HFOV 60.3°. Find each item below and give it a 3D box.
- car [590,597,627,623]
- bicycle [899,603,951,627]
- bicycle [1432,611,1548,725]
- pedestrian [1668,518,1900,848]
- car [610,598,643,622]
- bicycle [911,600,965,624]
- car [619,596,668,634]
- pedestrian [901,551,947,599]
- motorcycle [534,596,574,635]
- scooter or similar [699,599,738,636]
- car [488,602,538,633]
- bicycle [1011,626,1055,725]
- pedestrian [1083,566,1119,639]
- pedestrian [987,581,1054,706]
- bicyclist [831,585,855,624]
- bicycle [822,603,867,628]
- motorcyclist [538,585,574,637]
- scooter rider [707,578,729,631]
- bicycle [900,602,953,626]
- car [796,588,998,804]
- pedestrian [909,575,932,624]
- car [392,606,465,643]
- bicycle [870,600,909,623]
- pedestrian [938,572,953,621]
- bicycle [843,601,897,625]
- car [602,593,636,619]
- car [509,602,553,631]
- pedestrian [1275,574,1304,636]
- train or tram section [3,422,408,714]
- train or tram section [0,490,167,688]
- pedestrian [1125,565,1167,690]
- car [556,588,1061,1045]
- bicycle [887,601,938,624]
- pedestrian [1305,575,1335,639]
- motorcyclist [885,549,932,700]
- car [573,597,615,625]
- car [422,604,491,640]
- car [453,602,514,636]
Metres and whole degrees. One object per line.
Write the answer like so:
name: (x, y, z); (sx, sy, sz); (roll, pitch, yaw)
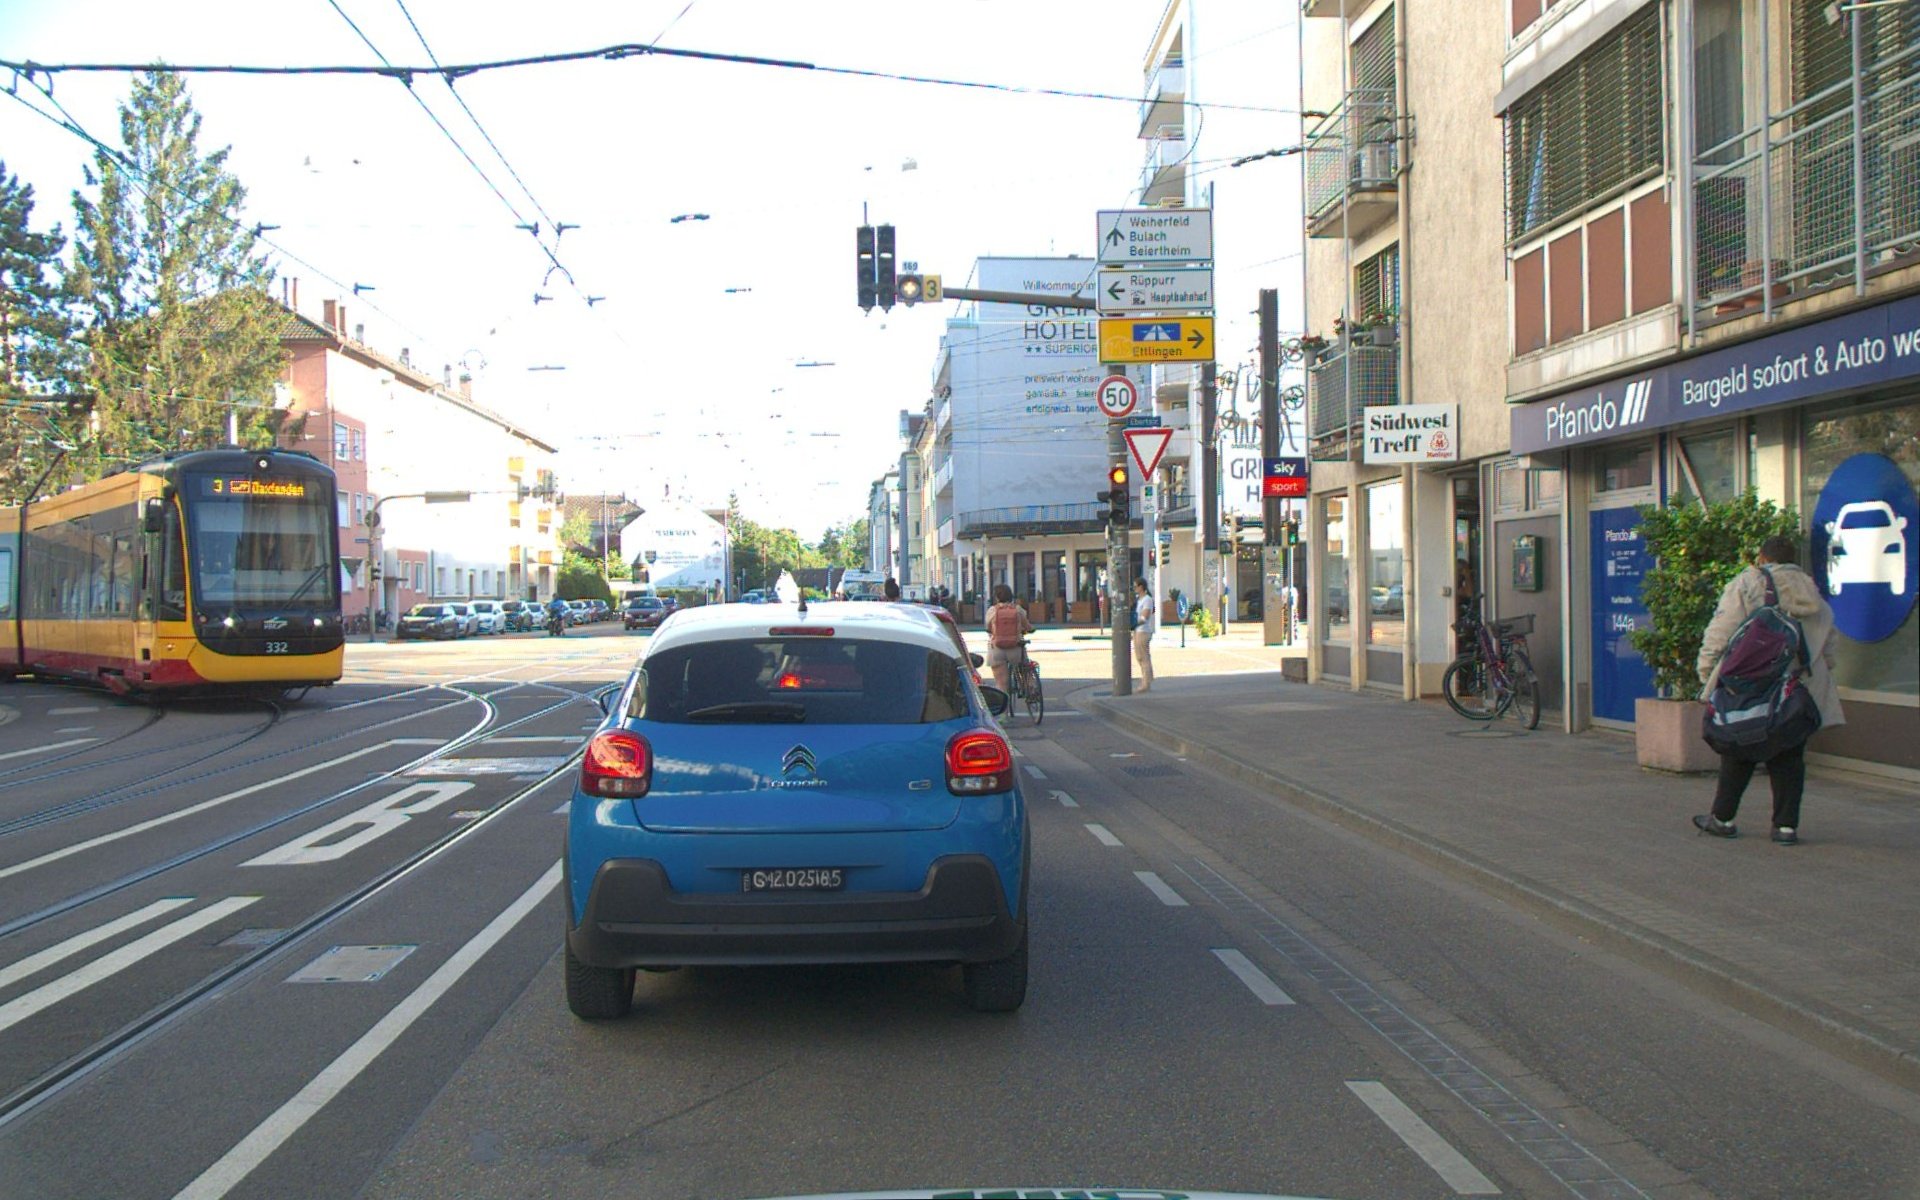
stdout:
car: (-23.525, 0.677, 110.827); (1.845, 1.716, 3.997); (1, 0, -4)
bicycle: (-1.429, 0.609, 67.508); (2.093, 0.917, 0.366); (1, -1, -10)
bicycle: (5.045, 0.620, 15.839); (0.531, 1.016, 1.705); (1, 0, -1)
pedestrian: (4.242, 0.413, 8.568); (0.808, 1.620, 0.751); (1, -1, -1)
car: (-24.353, 0.705, 120.880); (1.809, 1.716, 3.871); (1, 0, -4)
bicycle: (-0.877, 0.489, 65.918); (2.093, 0.917, 0.366); (1, -1, -10)
car: (-14.538, 0.687, 76.165); (1.740, 1.695, 3.853); (1, 0, -4)
pedestrian: (-1.598, -1.080, 73.514); (1.953, 2.049, 3.999); (1, 0, -1)
motorcycle: (-16.358, 0.627, 66.730); (0.905, 1.512, 3.723); (1, 0, -4)
scooter or similar: (-8.540, 0.616, 58.532); (1.325, 1.291, 0.442); (1, -1, -10)
car: (-23.115, 0.882, 85.670); (1.750, 1.524, 3.997); (1, 0, -4)
bicycle: (0.890, 0.909, 20.504); (0.419, 1.142, 1.998); (1, 0, -1)
pedestrian: (3.988, 0.074, 46.912); (0.907, 2.049, 0.759); (1, -1, -1)
pedestrian: (0.732, 0.526, 20.221); (0.761, 1.486, 0.681); (1, -1, -1)
bicyclist: (-4.588, 0.188, 64.853); (0.731, 1.503, 0.562); (1, -1, 28)
bicycle: (-4.527, 0.610, 64.794); (1.818, 0.919, 0.349); (1, -1, 29)
motorcyclist: (-16.383, 0.439, 67.030); (1.162, 2.049, 1.274); (-1, 0, -4)
scooter rider: (-8.571, 0.166, 58.541); (0.709, 1.864, 0.716); (-1, 0, -9)
bicycle: (-1.358, 0.572, 67.095); (2.093, 0.917, 0.366); (1, -1, -10)
car: (-0.464, 0.684, 13.116); (1.395, 1.493, 2.923); (-1, 0, -1)
pedestrian: (-1.660, -0.030, 69.113); (0.625, 2.049, 0.715); (1, -1, -36)
car: (-21.955, 1.007, 68.460); (1.757, 1.446, 3.994); (1, 0, -2)
bicycle: (-2.953, 0.480, 69.337); (1.751, 0.917, 0.365); (1, -1, 34)
pedestrian: (-0.628, -0.157, 70.074); (0.565, 2.049, 0.625); (1, -1, -3)
bicycle: (-3.597, 0.529, 66.142); (2.093, 0.917, 0.366); (1, -1, -10)
car: (-23.946, 0.424, 116.249); (1.797, 1.716, 3.997); (1, 0, -4)
car: (-23.744, 0.913, 91.643); (1.699, 1.524, 3.996); (1, 0, -5)
pedestrian: (8.871, 0.137, 44.504); (0.720, 1.629, 0.749); (1, -1, 12)
train or tram section: (-12.624, -0.359, 26.621); (3.041, 3.656, 12.455); (-1, 0, -38)
train or tram section: (-20.465, -0.259, 34.376); (8.890, 3.694, 2.827); (1, 0, 32)
pedestrian: (2.736, 0.398, 24.343); (0.507, 1.814, 0.595); (1, -1, -3)
car: (-0.517, 0.715, 7.157); (1.620, 1.469, 3.522); (1, 0, -1)
bicycle: (-1.957, 0.505, 68.259); (2.093, 0.917, 0.366); (1, -1, -10)
pedestrian: (9.737, 0.189, 44.763); (0.736, 1.686, 0.884); (1, -1, 10)
motorcyclist: (-0.610, 0.291, 19.596); (0.516, 1.746, 0.717); (1, -1, -1)
car: (-23.382, 0.694, 105.802); (1.944, 1.716, 3.997); (1, 0, -4)
car: (-22.247, 0.951, 73.215); (1.778, 1.524, 4.299); (1, 0, -1)
car: (-22.622, 0.879, 78.646); (1.751, 1.537, 4.148); (1, 0, -2)
